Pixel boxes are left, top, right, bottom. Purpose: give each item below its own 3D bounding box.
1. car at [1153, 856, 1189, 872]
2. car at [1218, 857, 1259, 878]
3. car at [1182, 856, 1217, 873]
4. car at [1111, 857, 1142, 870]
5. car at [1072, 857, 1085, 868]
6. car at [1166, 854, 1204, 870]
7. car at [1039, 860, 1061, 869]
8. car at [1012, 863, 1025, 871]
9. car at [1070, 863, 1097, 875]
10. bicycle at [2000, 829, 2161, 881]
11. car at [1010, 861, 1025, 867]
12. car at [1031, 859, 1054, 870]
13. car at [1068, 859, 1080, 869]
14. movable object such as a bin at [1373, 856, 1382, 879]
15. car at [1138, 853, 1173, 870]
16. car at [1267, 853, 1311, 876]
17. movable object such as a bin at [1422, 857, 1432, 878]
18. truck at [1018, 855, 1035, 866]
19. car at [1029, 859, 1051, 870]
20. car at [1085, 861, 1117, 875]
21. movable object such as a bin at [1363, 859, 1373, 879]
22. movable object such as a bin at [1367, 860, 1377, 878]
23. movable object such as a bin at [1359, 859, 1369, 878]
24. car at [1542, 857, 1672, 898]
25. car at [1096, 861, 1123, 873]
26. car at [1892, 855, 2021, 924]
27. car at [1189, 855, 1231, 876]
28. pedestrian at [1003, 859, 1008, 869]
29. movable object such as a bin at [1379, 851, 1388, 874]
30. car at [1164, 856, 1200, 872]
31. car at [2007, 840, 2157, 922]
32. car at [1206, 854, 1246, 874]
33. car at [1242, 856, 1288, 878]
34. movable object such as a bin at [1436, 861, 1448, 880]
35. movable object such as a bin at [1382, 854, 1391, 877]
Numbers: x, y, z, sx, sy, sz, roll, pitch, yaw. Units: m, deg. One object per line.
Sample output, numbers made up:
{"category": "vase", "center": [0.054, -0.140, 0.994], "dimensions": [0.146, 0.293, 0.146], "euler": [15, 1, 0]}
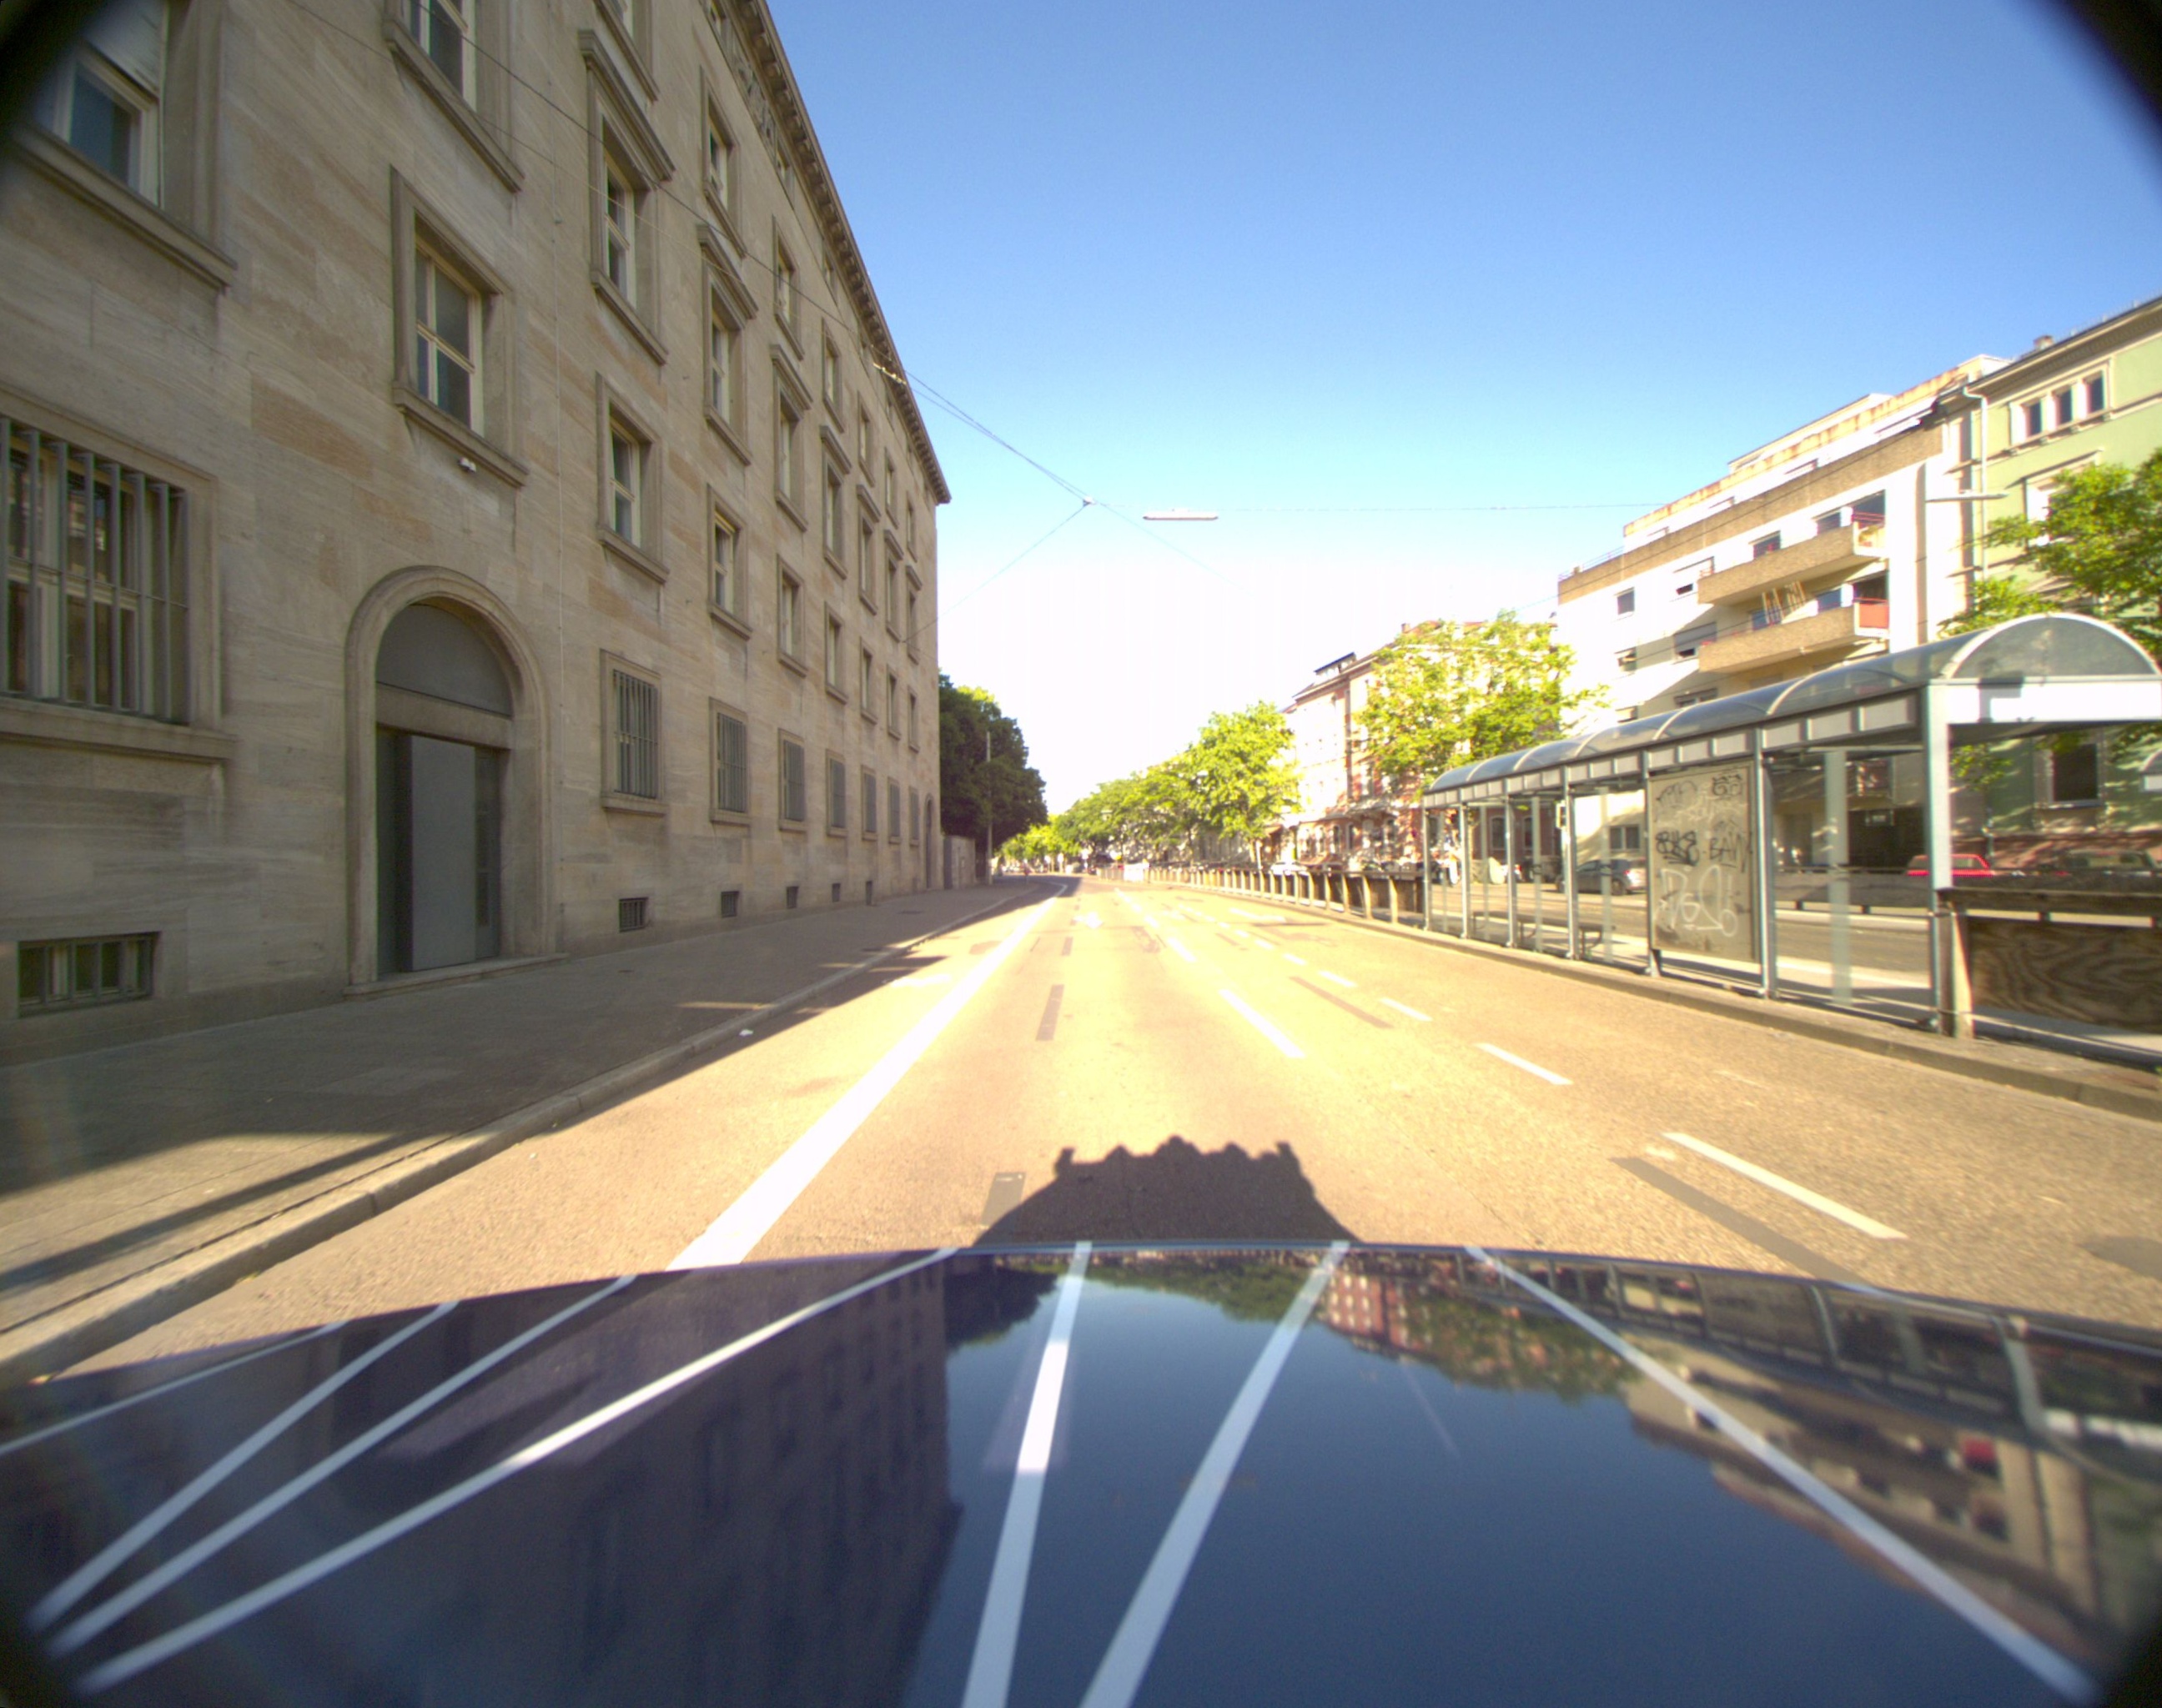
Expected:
{"category": "car", "center": [10.167, 1.153, 85.503], "dimensions": [3.878, 1.645, 1.768], "euler": [-3, 1, -41]}
{"category": "car", "center": [13.971, 1.204, 67.413], "dimensions": [1.631, 1.607, 3.993], "euler": [-3, 0, 43]}
{"category": "car", "center": [11.950, 1.051, 76.429], "dimensions": [3.286, 1.524, 1.703], "euler": [-5, 1, -43]}
{"category": "car", "center": [6.340, 1.357, 105.182], "dimensions": [4.208, 1.549, 1.636], "euler": [-3, 0, -41]}
{"category": "car", "center": [-0.392, 1.561, 137.381], "dimensions": [1.673, 1.886, 3.212], "euler": [-1, 0, -12]}
{"category": "car", "center": [10.800, 0.797, 78.892], "dimensions": [3.829, 1.477, 1.766], "euler": [-3, 1, -41]}
{"category": "car", "center": [-6.213, 2.056, 153.443], "dimensions": [4.105, 1.561, 1.670], "euler": [-4, 1, -18]}
{"category": "car", "center": [-13.271, 2.811, 160.476], "dimensions": [1.878, 1.591, 4.421], "euler": [-1, -1, -16]}
{"category": "car", "center": [0.410, 2.273, 114.407], "dimensions": [4.007, 1.477, 1.777], "euler": [-3, 1, -44]}
{"category": "bicycle", "center": [29.004, 0.040, 22.020], "dimensions": [0.719, 1.390, 3.007], "euler": [-1, 0, -14]}
{"category": "car", "center": [-17.418, 2.719, 209.407], "dimensions": [3.775, 1.584, 1.670], "euler": [-4, 1, -18]}
{"category": "car", "center": [-7.945, 2.148, 156.333], "dimensions": [4.311, 1.939, 1.670], "euler": [-4, 1, -18]}
{"category": "car", "center": [-1.296, 1.823, 141.840], "dimensions": [1.673, 1.886, 3.212], "euler": [-1, 0, -12]}
{"category": "movable object such as a bin", "center": [18.695, 0.832, 47.921], "dimensions": [0.380, 1.418, 0.388], "euler": [-1, 0, 0]}
{"category": "car", "center": [9.052, 0.903, 92.409], "dimensions": [4.208, 1.788, 1.781], "euler": [-4, 2, -41]}
{"category": "car", "center": [16.345, 0.824, 59.658], "dimensions": [1.731, 1.513, 3.924], "euler": [-3, 0, 41]}
{"category": "movable object such as a bin", "center": [21.518, 0.814, 47.229], "dimensions": [0.380, 1.304, 0.387], "euler": [-1, 0, -6]}
{"category": "truck", "center": [-13.369, 1.655, 187.018], "dimensions": [3.774, 2.409, 1.671], "euler": [-4, 1, -13]}
{"category": "car", "center": [-8.573, 2.185, 158.743], "dimensions": [4.311, 1.939, 1.670], "euler": [-4, 1, -18]}
{"category": "car", "center": [3.021, 2.055, 112.762], "dimensions": [4.366, 1.704, 1.944], "euler": [-4, 1, -35]}
{"category": "movable object such as a bin", "center": [18.044, 0.955, 47.804], "dimensions": [0.380, 1.234, 0.640], "euler": [-1, 0, 0]}
{"category": "movable object such as a bin", "center": [18.038, 0.937, 47.126], "dimensions": [0.380, 1.062, 0.640], "euler": [-1, 0, 0]}
{"category": "movable object such as a bin", "center": [18.060, 0.949, 48.467], "dimensions": [0.380, 1.196, 0.640], "euler": [-1, 0, 0]}
{"category": "car", "center": [20.668, 0.876, 30.119], "dimensions": [1.711, 1.402, 4.289], "euler": [-4, 0, -8]}
{"category": "car", "center": [4.134, 1.859, 110.381], "dimensions": [1.744, 1.511, 3.773], "euler": [-2, 1, 44]}
{"category": "car", "center": [22.397, 0.830, 19.597], "dimensions": [4.524, 1.417, 1.868], "euler": [-3, 1, -45]}
{"category": "car", "center": [12.552, 1.130, 73.923], "dimensions": [4.294, 1.713, 1.703], "euler": [-5, 2, -44]}
{"category": "pedestrian", "center": [-12.687, 1.668, 128.043], "dimensions": [0.872, 1.710, 0.804], "euler": [-1, 0, -3]}
{"category": "movable object such as a bin", "center": [18.879, 0.536, 47.429], "dimensions": [0.380, 1.418, 0.386], "euler": [-1, 0, 0]}
{"category": "car", "center": [10.987, 1.081, 82.499], "dimensions": [3.878, 1.645, 1.768], "euler": [-3, 1, -41]}
{"category": "car", "center": [23.725, 0.556, 18.163], "dimensions": [4.524, 1.632, 1.586], "euler": [-3, 1, -45]}
{"category": "car", "center": [13.372, 0.928, 70.033], "dimensions": [1.630, 1.607, 3.993], "euler": [-3, 0, 43]}
{"category": "car", "center": [15.180, 1.042, 62.584], "dimensions": [3.929, 1.499, 1.685], "euler": [-4, 0, -44]}
{"category": "movable object such as a bin", "center": [21.260, 0.949, 44.756], "dimensions": [0.380, 1.090, 0.552], "euler": [-1, 1, -6]}
{"category": "movable object such as a bin", "center": [18.952, 0.734, 47.103], "dimensions": [0.380, 1.418, 0.388], "euler": [-1, 0, 0]}
